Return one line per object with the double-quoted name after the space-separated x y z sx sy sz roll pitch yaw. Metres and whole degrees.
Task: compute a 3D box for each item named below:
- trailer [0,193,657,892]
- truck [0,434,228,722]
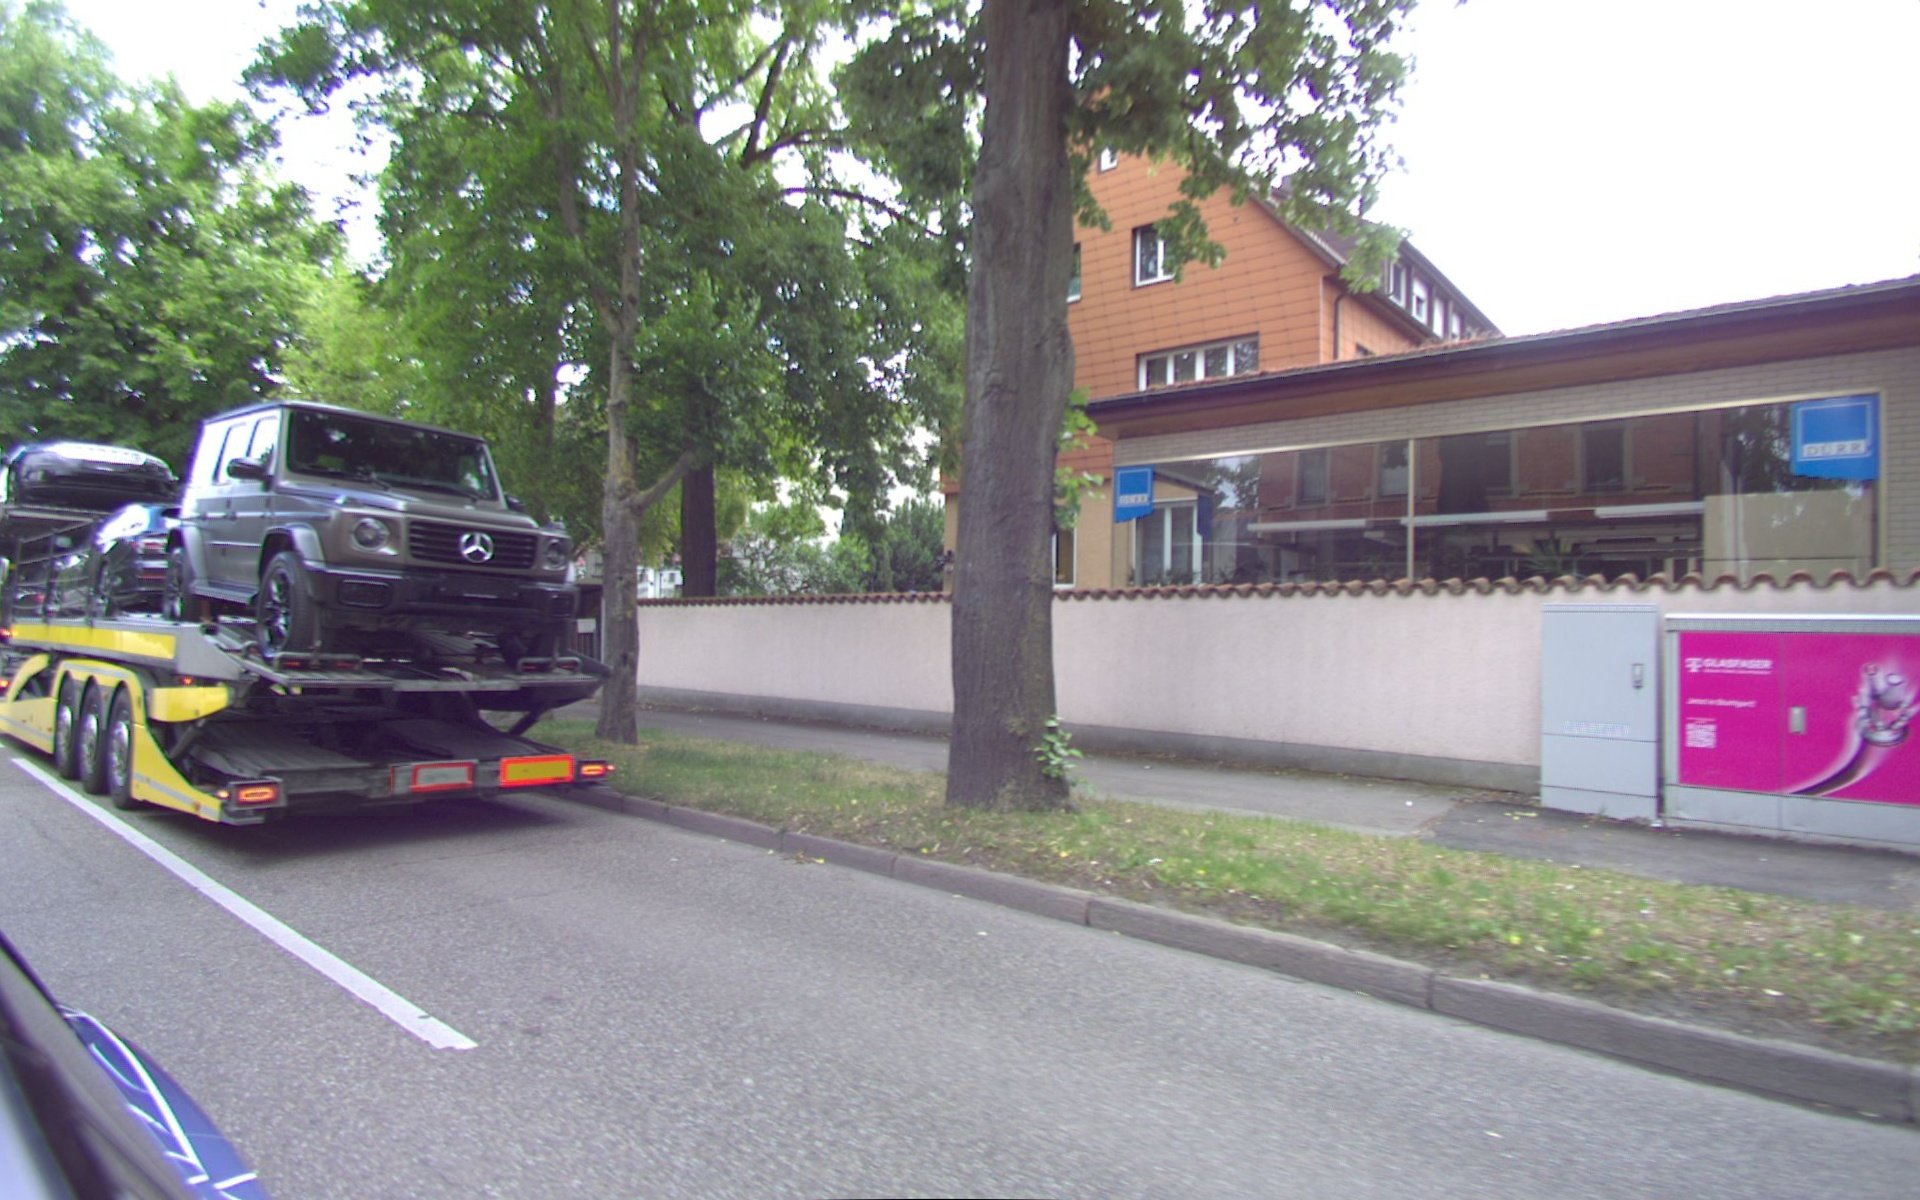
-8.640 -0.292 11.368 14.383 3.837 2.828 0 0 41 "trailer"
-14.826 -0.275 16.728 7.666 3.811 2.814 0 0 41 "truck"
